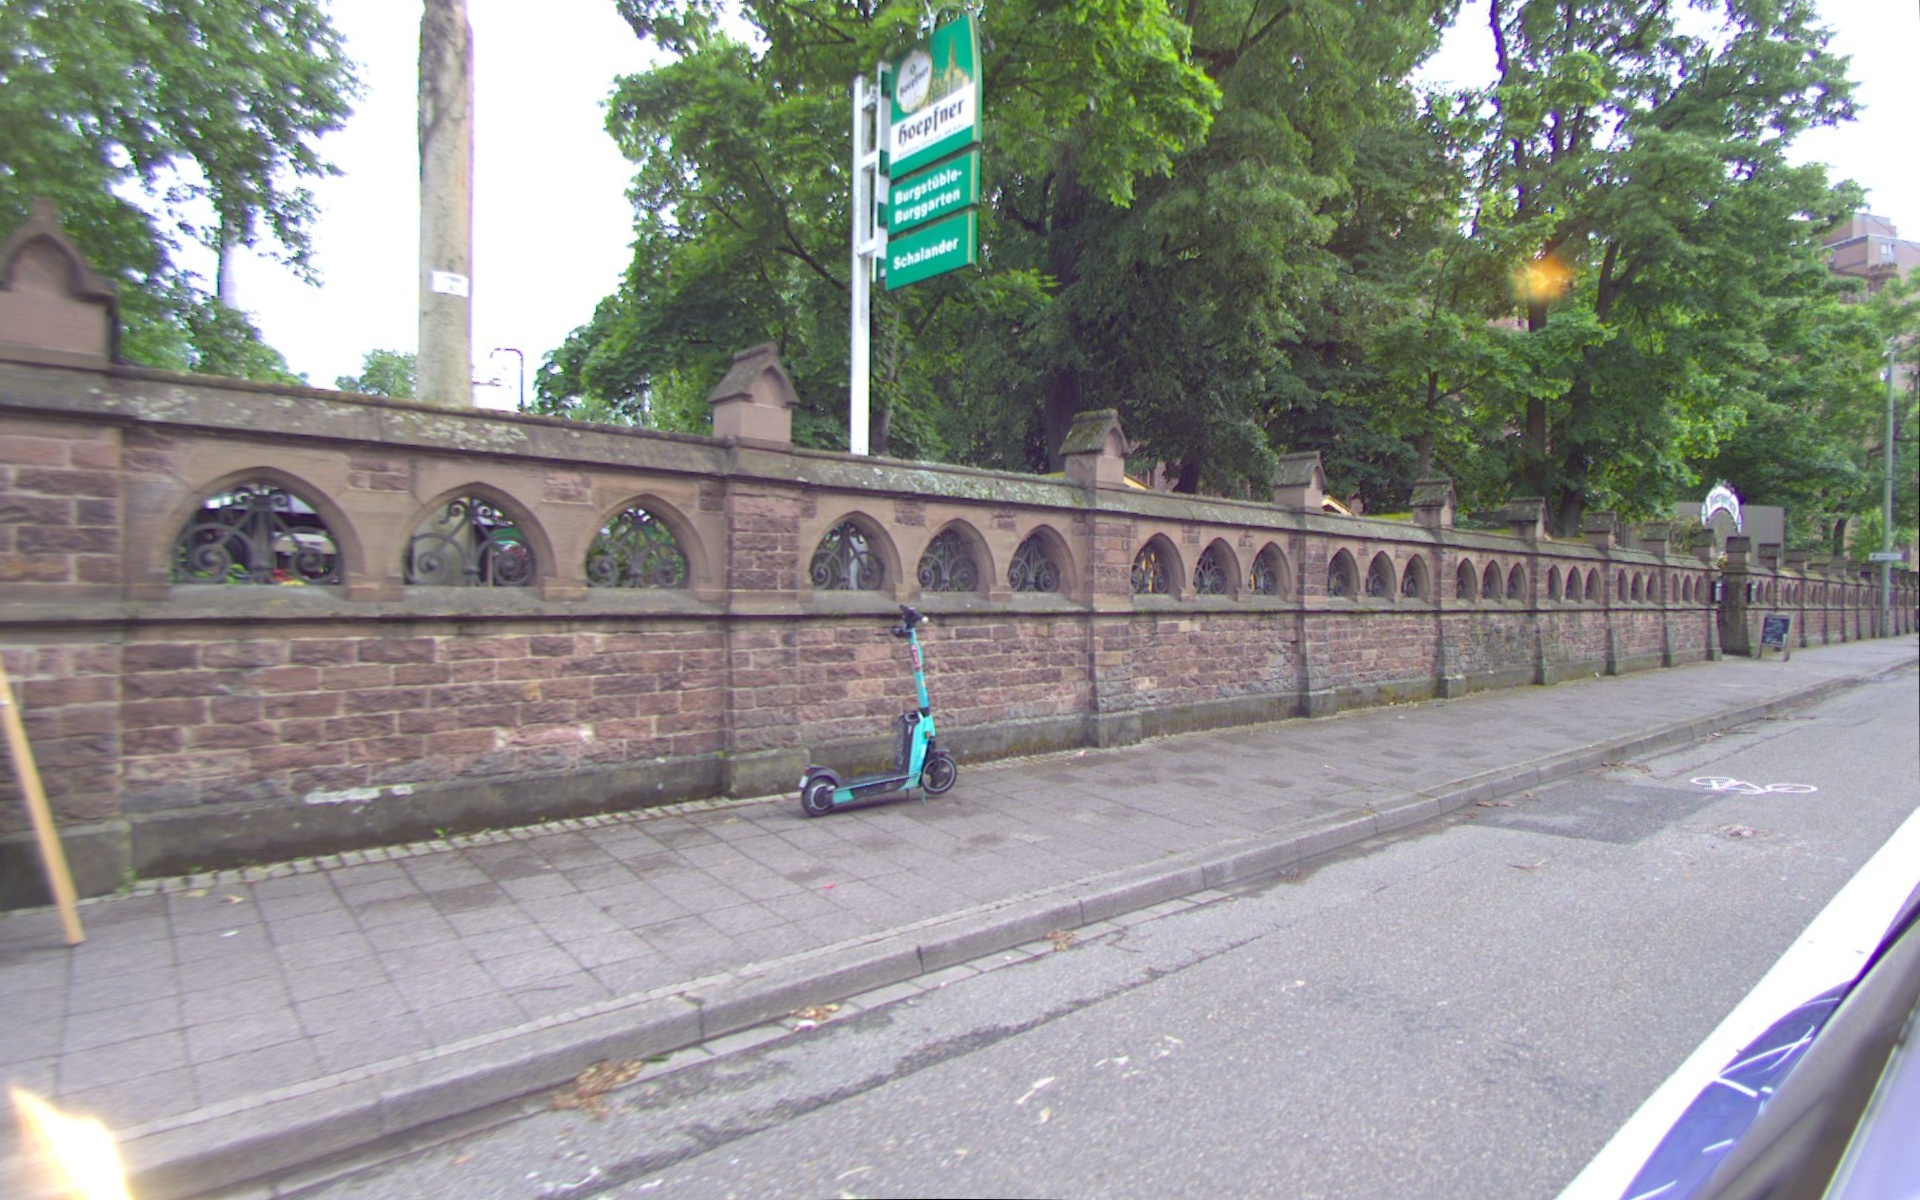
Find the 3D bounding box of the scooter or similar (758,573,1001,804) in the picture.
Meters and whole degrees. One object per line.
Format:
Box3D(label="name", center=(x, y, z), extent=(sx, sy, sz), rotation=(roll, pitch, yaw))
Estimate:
Box3D(label="scooter or similar", center=(-0.476, 0.481, 6.259), extent=(1.385, 1.254, 0.578), rotation=(0, 4, -40))
